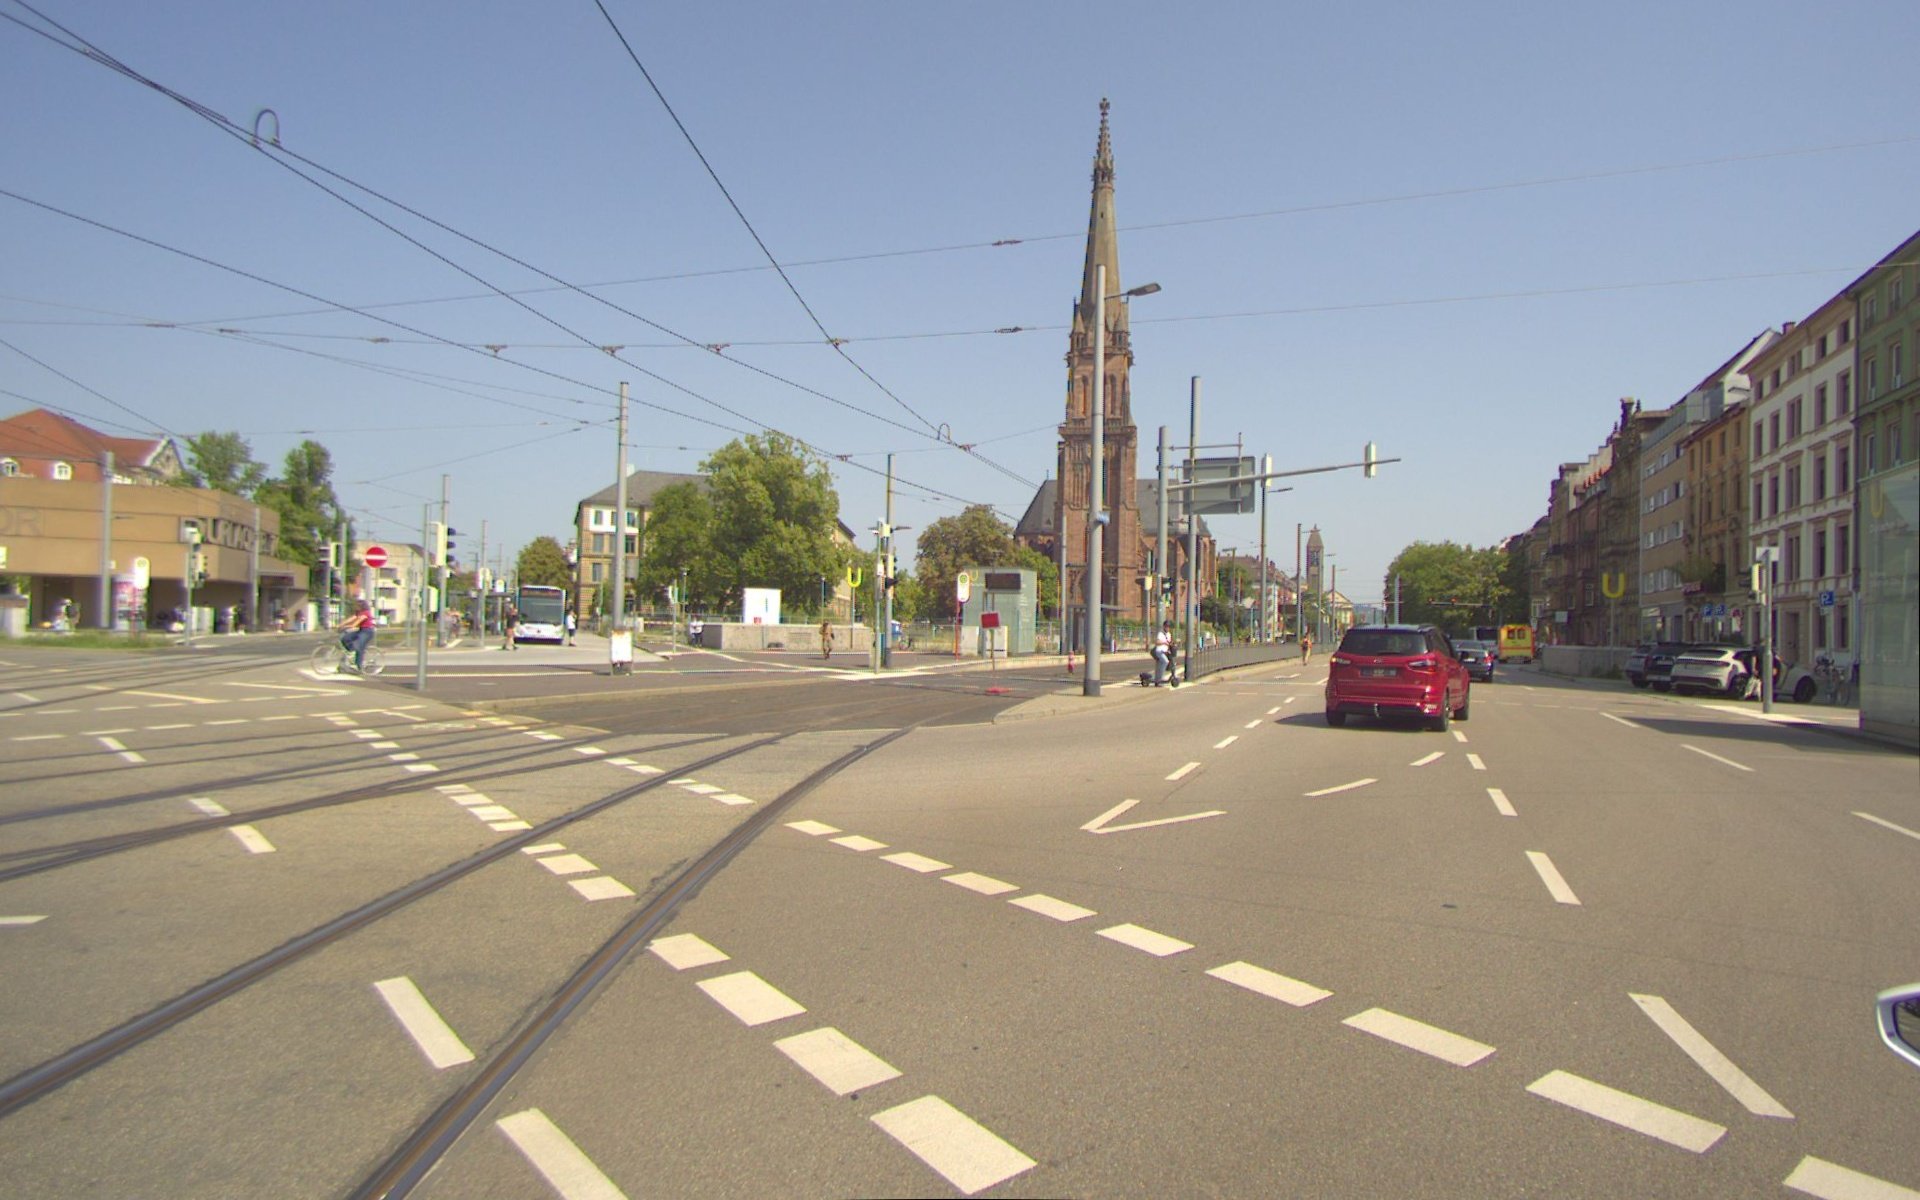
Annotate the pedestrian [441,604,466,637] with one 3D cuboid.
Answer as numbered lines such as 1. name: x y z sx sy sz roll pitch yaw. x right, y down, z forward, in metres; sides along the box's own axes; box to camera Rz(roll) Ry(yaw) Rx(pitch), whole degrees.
1. pedestrian: -28.379 1.129 56.261 0.942 1.803 0.784 1 -3 29

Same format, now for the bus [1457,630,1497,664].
1. bus: 50.080 4.546 97.523 2.493 3.071 12.431 1 -2 23

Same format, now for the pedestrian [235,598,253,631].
1. pedestrian: -37.312 0.743 52.352 0.502 1.667 0.570 1 1 26

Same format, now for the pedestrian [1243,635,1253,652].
1. pedestrian: 30.797 4.629 107.384 0.816 1.774 0.720 1 -2 24

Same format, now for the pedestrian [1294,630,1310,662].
1. pedestrian: 19.047 2.560 55.985 0.749 1.774 1.068 1 -2 23

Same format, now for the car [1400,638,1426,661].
1. car: 37.456 4.095 83.047 1.761 1.803 4.000 1 -2 22

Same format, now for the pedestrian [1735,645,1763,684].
1. pedestrian: 38.892 3.172 49.500 0.826 1.870 0.687 0 -2 14

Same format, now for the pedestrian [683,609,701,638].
1. pedestrian: -14.727 1.299 55.169 0.774 1.568 0.674 3 -2 -27

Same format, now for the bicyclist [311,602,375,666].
1. bicyclist: -14.823 0.812 24.149 0.861 1.479 0.979 1 -1 27

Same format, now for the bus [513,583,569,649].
1. bus: -24.273 0.932 58.268 2.639 3.375 12.689 2 -2 -23

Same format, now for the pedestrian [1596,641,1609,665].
1. pedestrian: 46.049 3.817 71.953 0.686 1.689 0.602 1 -1 25

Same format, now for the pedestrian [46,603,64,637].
1. pedestrian: -37.221 0.832 41.311 0.344 1.393 0.459 0 -1 42

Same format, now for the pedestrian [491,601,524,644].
1. pedestrian: -19.568 0.986 43.488 0.771 1.803 0.958 1 -2 26

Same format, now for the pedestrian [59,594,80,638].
1. pedestrian: -37.241 0.676 42.021 0.553 1.840 0.558 0 -1 42

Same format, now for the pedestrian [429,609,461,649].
1. pedestrian: -24.046 1.371 46.921 0.771 1.803 0.958 1 -2 26

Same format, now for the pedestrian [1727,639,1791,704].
1. pedestrian: 22.304 1.974 28.048 1.018 1.726 0.904 3 -1 -3

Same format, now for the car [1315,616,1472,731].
1. car: 7.283 1.151 16.638 1.738 1.639 4.072 0 -2 33

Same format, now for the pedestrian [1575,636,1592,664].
1. pedestrian: 39.778 3.159 64.074 0.837 1.752 0.969 0 0 30

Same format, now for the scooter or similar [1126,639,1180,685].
1. scooter or similar: 5.220 1.664 27.121 1.316 1.163 0.709 1 -3 21

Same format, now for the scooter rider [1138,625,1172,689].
1. scooter rider: 5.269 1.520 27.100 0.758 1.695 0.779 1 -1 19

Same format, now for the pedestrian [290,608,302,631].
1. pedestrian: -43.585 1.295 65.955 0.542 1.520 0.562 1 1 -20

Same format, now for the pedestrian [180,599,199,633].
1. pedestrian: -37.963 0.783 49.475 0.569 1.698 0.584 1 1 -20

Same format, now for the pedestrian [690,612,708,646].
1. pedestrian: -13.810 1.540 53.200 0.774 1.751 0.674 2 -1 -27

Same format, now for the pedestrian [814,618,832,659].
1. pedestrian: -5.755 1.632 42.336 0.562 1.681 0.801 1 1 5

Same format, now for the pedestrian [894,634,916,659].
1. pedestrian: -3.416 2.840 61.836 0.607 1.505 1.684 2 -2 -31

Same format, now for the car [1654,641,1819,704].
1. car: 22.756 2.109 29.488 3.720 1.520 1.803 4 0 -12

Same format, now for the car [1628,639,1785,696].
1. car: 24.129 2.164 32.496 4.323 1.710 1.979 2 -1 -18

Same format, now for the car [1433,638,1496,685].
1. car: 17.404 2.082 34.803 1.762 1.450 3.998 1 -2 24

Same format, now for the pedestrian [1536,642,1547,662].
1. pedestrian: 50.181 4.514 86.658 0.598 1.689 0.691 3 -2 -41

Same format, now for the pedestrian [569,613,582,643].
1. pedestrian: -20.316 1.500 53.128 0.569 1.548 0.597 3 -2 -21

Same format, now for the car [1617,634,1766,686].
1. car: 26.006 2.125 35.738 4.592 1.736 2.036 2 -1 -18

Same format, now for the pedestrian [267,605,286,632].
1. pedestrian: -43.049 1.160 63.247 0.783 1.702 0.851 1 1 -20

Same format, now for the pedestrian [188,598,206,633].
1. pedestrian: -38.162 0.778 50.229 0.569 1.698 0.584 1 1 -20

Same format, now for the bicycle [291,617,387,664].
1. bicycle: -14.844 0.967 24.071 0.603 1.083 1.911 1 -2 27

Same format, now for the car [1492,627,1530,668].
1. car: 40.676 3.459 74.310 2.264 2.926 5.593 0 -2 27

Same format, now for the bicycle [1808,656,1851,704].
1. bicycle: 24.980 2.289 28.877 0.465 1.313 1.790 0 -3 25
